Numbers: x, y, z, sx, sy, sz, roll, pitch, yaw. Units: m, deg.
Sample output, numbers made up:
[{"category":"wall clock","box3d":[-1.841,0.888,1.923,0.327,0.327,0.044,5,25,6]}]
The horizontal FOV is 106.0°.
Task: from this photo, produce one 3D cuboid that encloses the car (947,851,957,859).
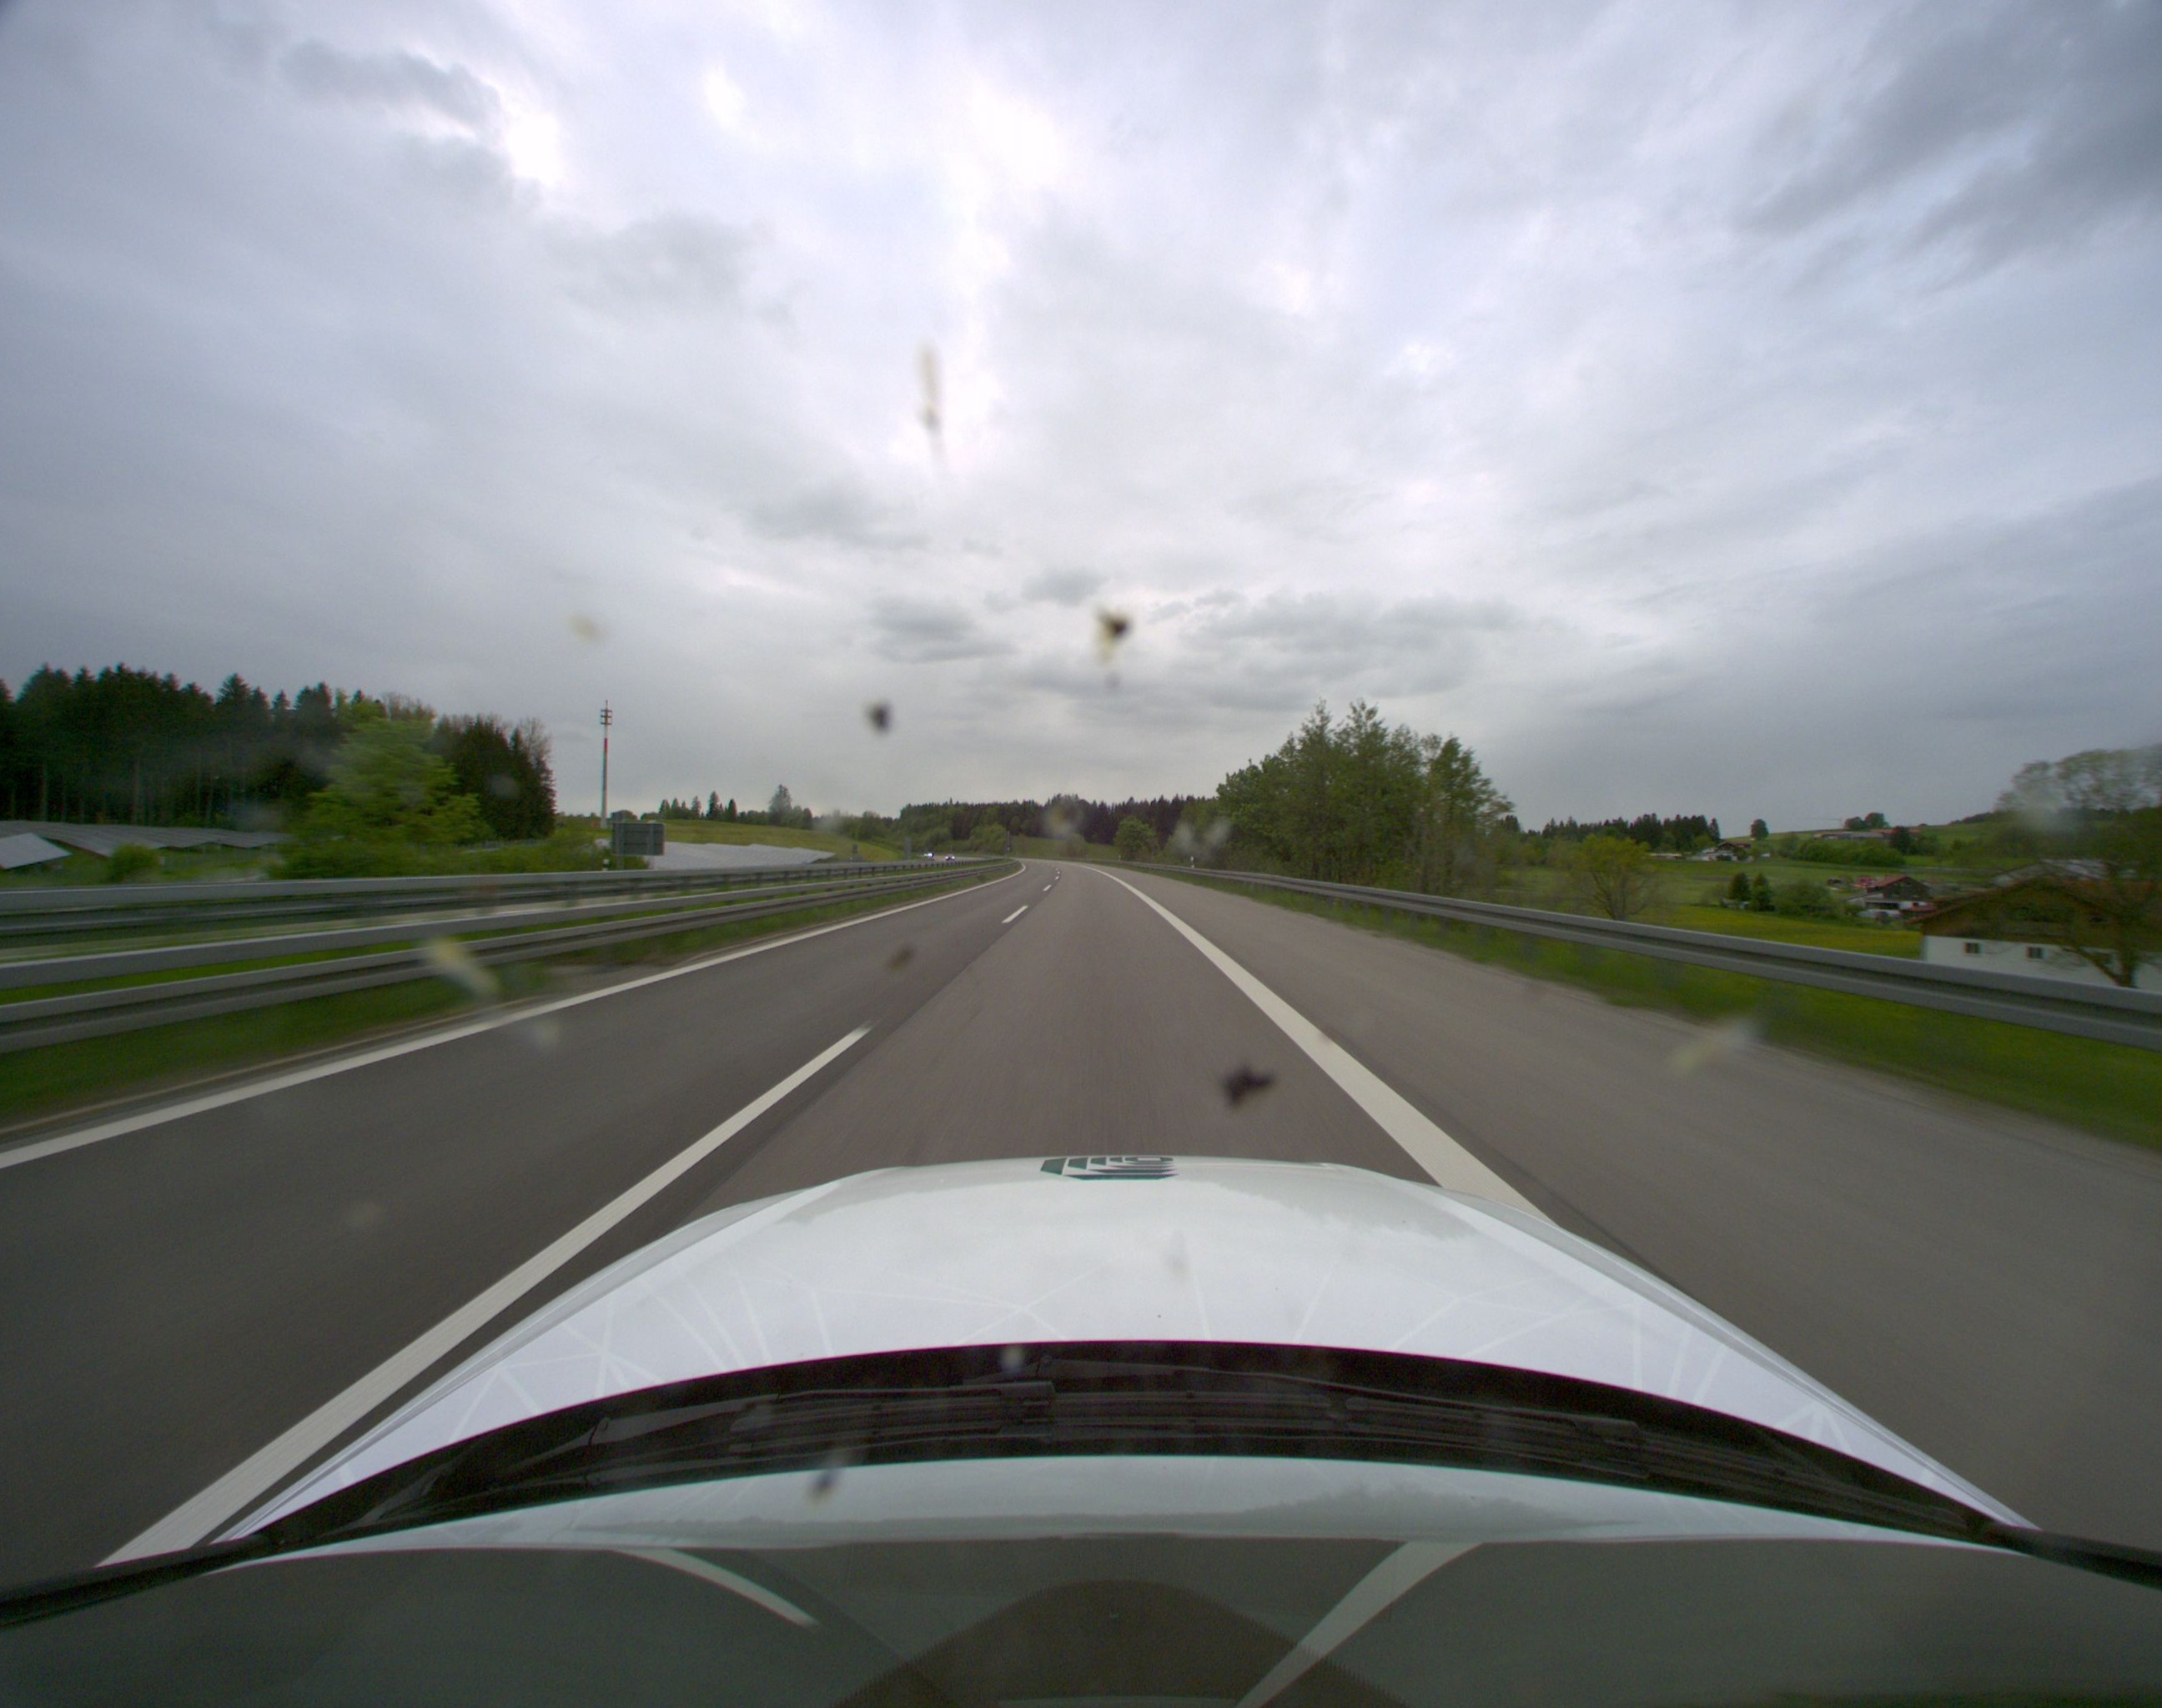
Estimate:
[{"category":"car","box3d":[-28.984,0.220,183.344,1.991,1.498,4.143,2,0,-5]}]
